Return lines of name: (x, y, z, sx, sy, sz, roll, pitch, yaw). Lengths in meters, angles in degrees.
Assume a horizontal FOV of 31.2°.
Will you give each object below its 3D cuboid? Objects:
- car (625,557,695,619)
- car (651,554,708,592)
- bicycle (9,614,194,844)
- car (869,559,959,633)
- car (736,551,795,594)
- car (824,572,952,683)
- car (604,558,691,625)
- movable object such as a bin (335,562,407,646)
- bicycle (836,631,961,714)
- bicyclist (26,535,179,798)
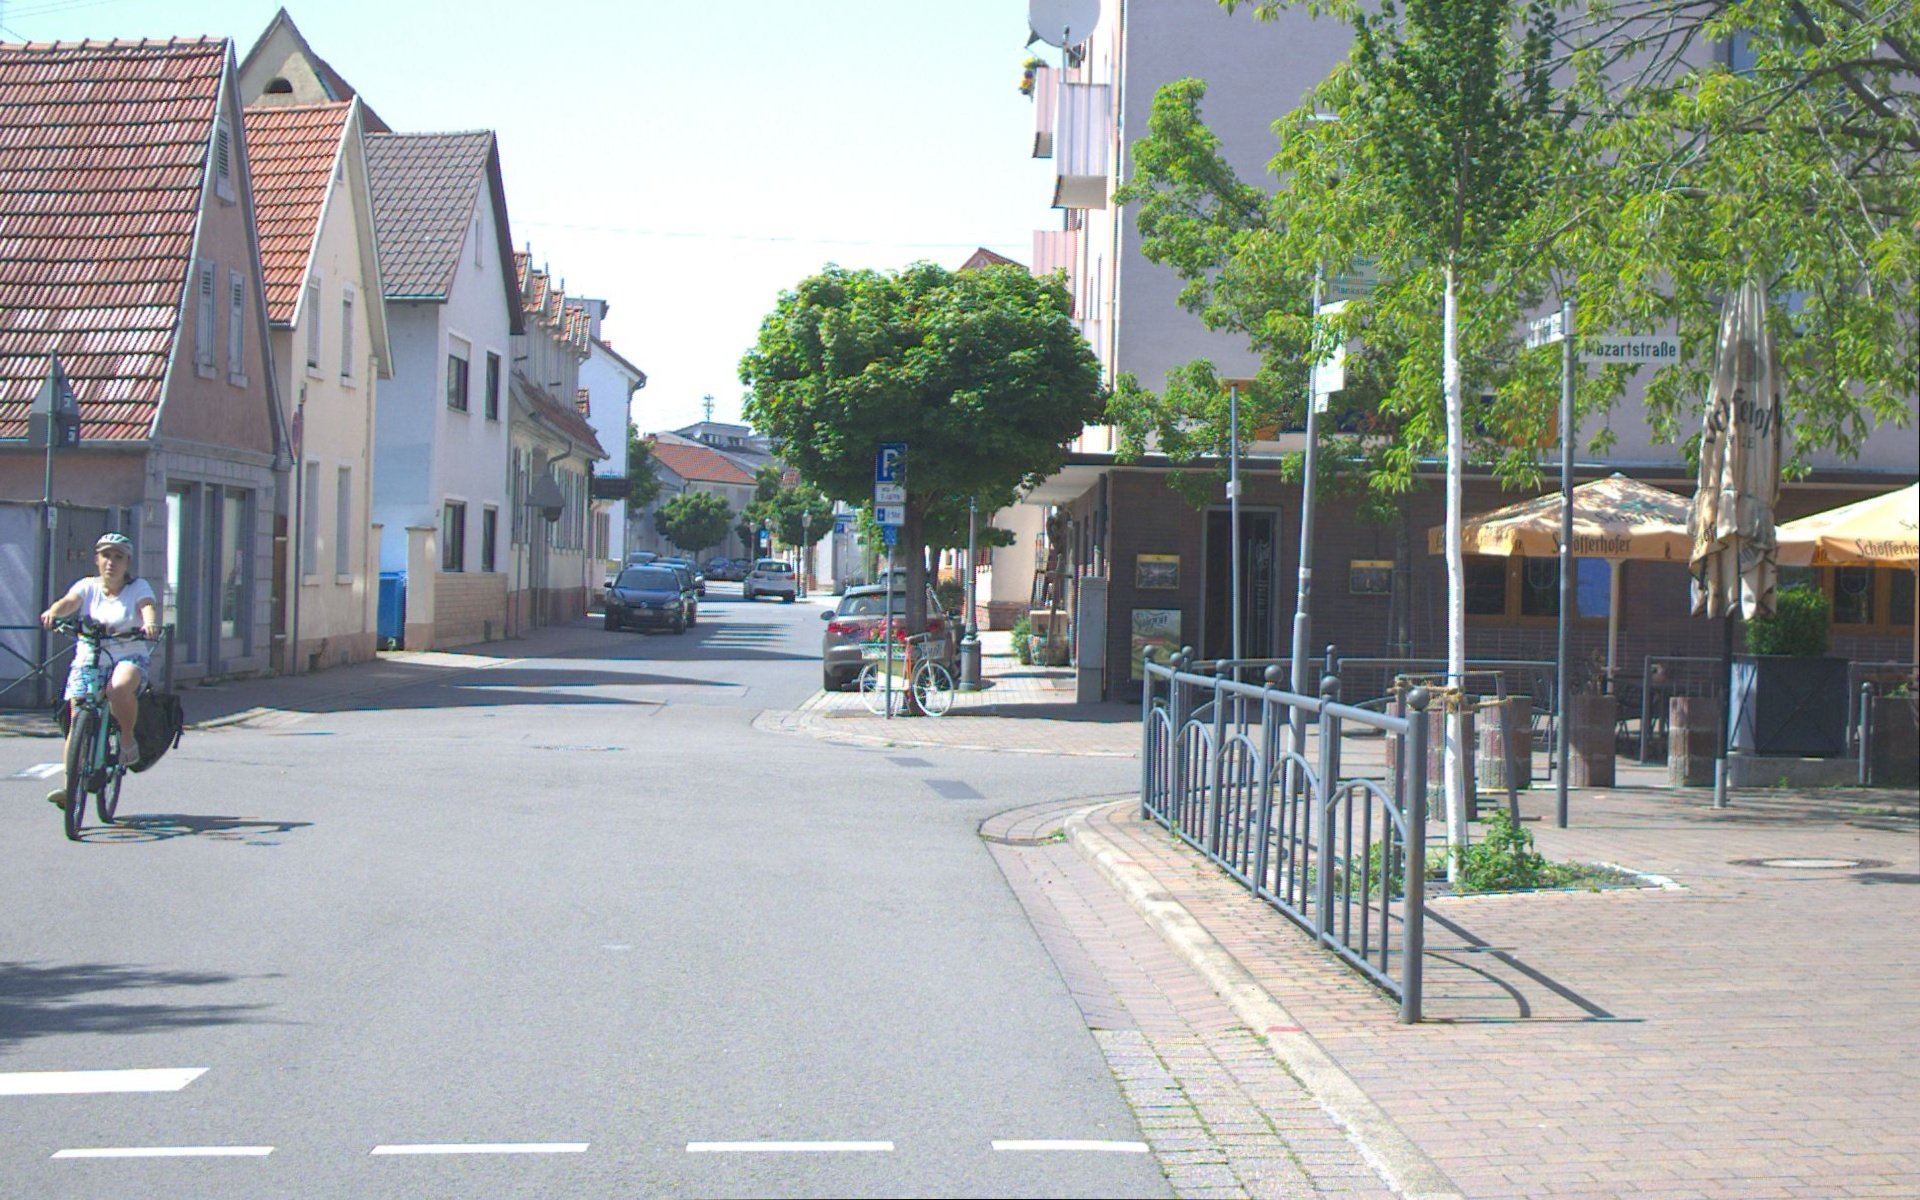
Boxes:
car: (-7.387, -0.312, 84.751, 1.663, 1.471, 3.451, 1, 1, -4)
car: (-11.500, -1.076, 140.635, 1.908, 1.476, 4.845, 1, 0, -10)
bicycle: (-5.013, 0.724, 20.184, 0.708, 1.248, 1.972, 1, 1, -4)
car: (-1.083, -0.116, 81.065, 2.043, 1.683, 4.842, 1, 1, -1)
car: (-7.535, -1.081, 132.928, 2.026, 1.592, 4.510, 1, 1, -6)
car: (-0.957, 0.358, 47.198, 1.576, 1.449, 3.486, 1, 0, 1)
car: (-7.081, -0.211, 78.198, 1.663, 1.471, 4.135, 1, 1, -1)
movable object such as a bin: (-9.727, 0.068, 56.778, 1.102, 1.361, 0.390, 1, 0, 3)
bicycle: (-0.695, 0.803, 38.581, 1.412, 0.894, 0.464, 0, 1, 36)
bicyclist: (-5.010, 0.378, 20.131, 0.714, 1.501, 0.871, 1, 0, -4)
